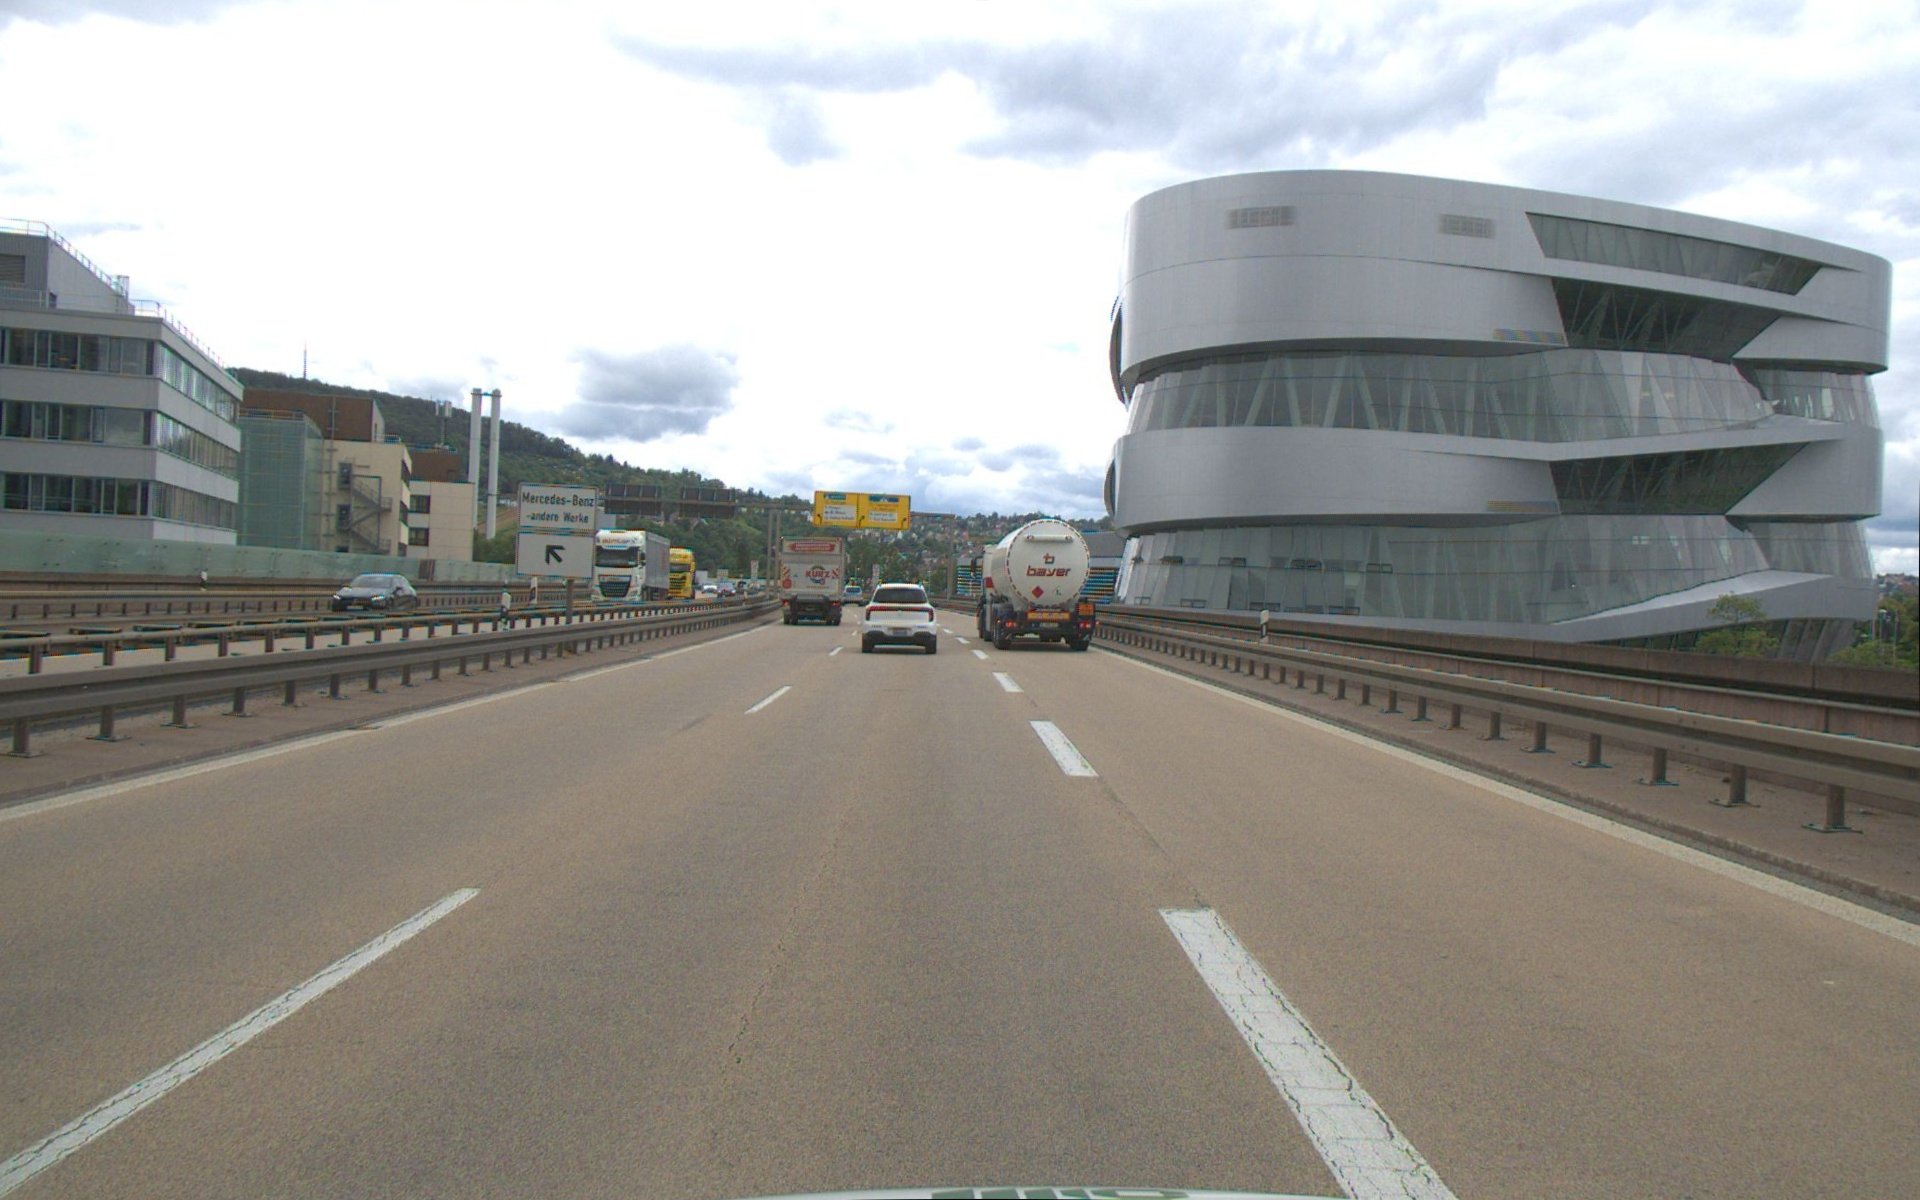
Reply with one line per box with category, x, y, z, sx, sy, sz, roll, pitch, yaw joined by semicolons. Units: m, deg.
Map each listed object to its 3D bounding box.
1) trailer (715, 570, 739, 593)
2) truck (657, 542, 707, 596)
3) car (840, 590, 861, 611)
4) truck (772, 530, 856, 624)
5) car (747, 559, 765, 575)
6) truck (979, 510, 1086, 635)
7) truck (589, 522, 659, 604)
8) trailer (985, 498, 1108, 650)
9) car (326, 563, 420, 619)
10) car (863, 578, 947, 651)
trailer;-22.271;-1.762;158.360;1.954;2.049;3.997;1;0;-3
truck;-22.802;-2.477;136.225;2.997;4.136;11.844;1;0;-5
car;-9.214;0.084;139.394;1.649;1.679;4.357;2;0;-3
truck;-6.176;-0.928;71.355;2.995;3.755;8.301;1;0;-1
car;-23.508;-3.811;191.067;1.955;1.634;4.801;1;0;-6
truck;2.210;-0.812;52.786;2.953;3.721;6.271;1;0;-1
truck;-17.721;-1.876;87.552;2.717;4.151;5.642;1;0;-3
trailer;2.289;-0.659;46.631;2.994;3.856;8.303;1;0;0
car;-19.130;-0.271;54.061;1.649;1.679;4.357;2;0;-3
car;-1.330;0.360;41.655;1.953;1.704;4.408;1;0;0
